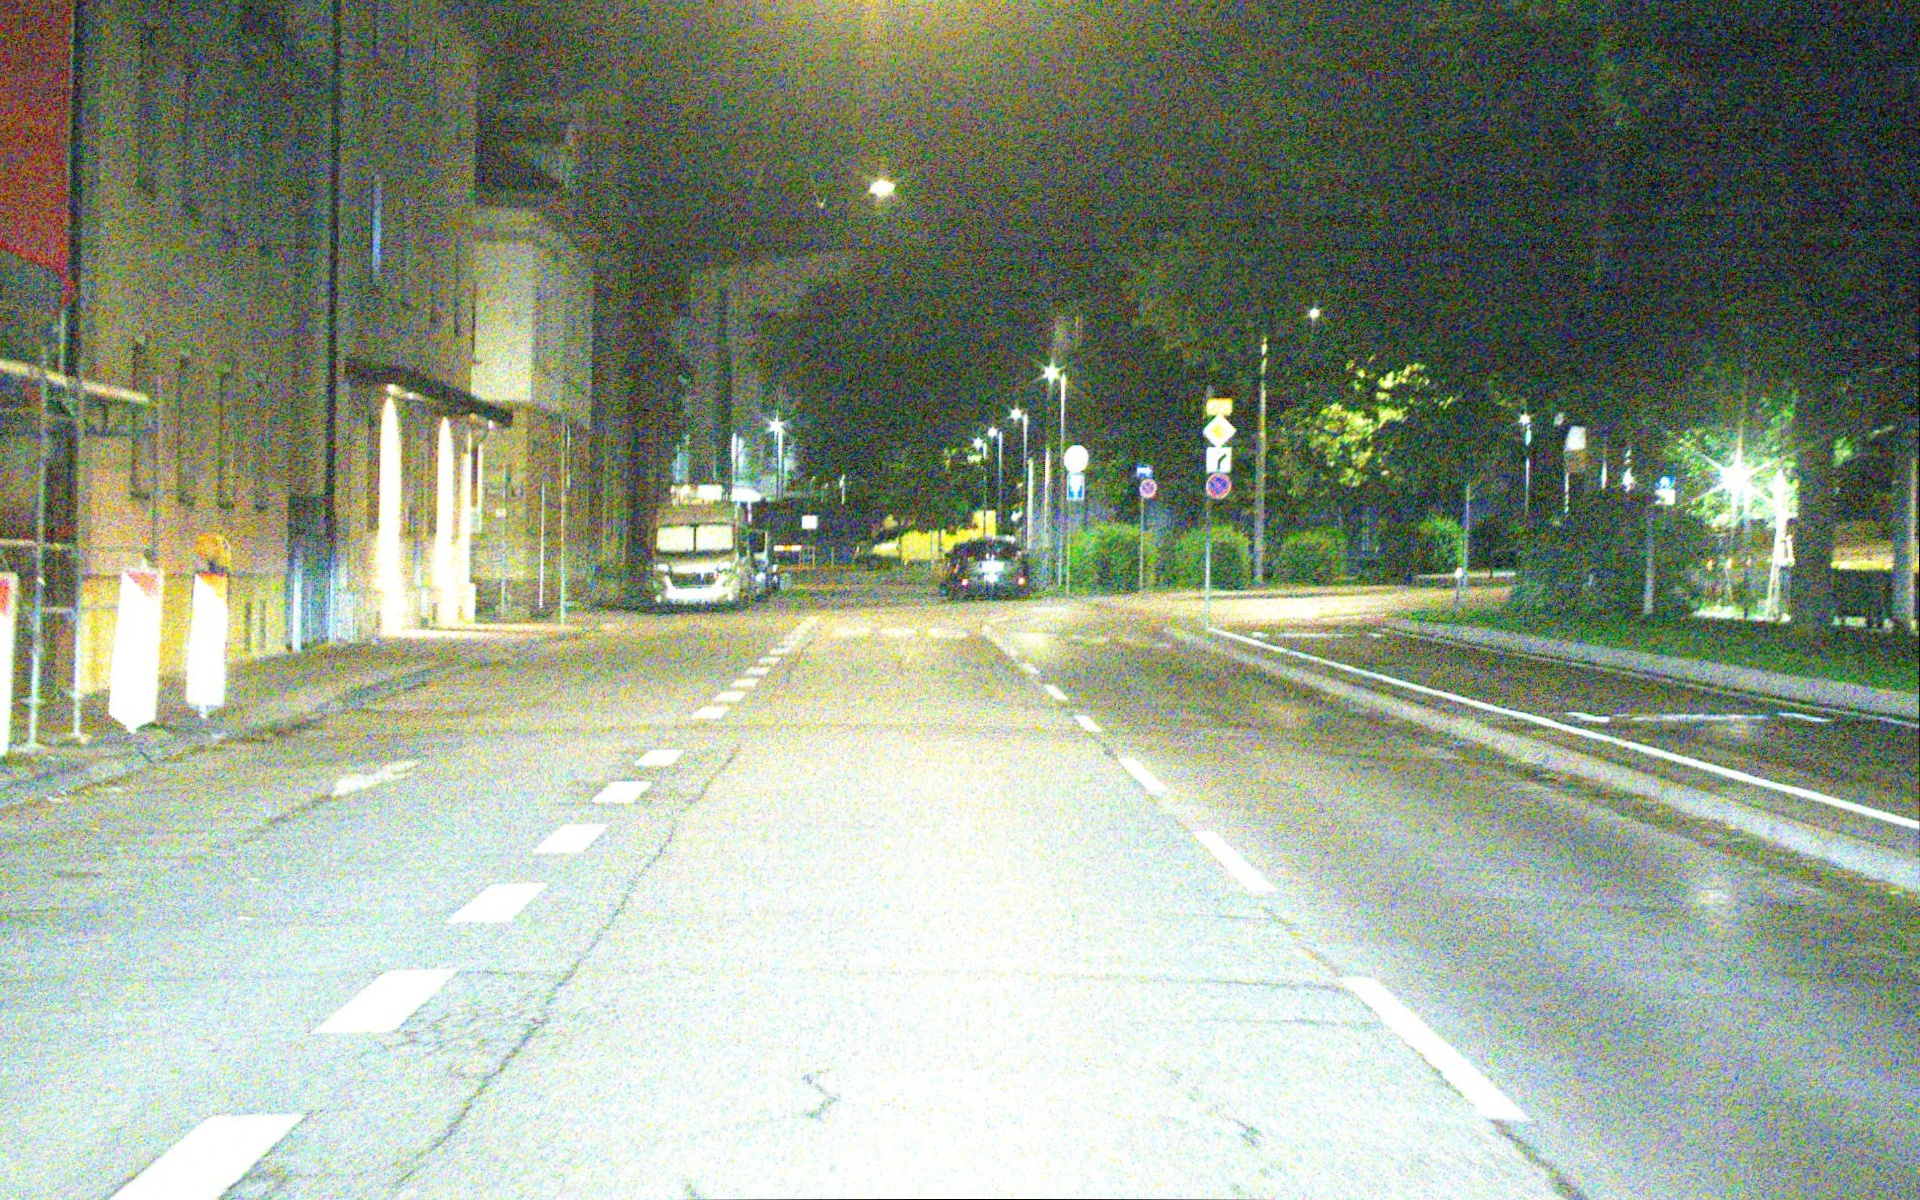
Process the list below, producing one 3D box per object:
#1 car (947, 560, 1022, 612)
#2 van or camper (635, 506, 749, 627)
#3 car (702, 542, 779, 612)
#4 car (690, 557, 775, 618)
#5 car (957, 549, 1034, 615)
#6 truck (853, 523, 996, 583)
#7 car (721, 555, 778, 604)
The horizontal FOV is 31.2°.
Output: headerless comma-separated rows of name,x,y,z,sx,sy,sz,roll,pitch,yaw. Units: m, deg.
car,0.657,-0.384,93.508,1.963,1.378,4.000,0,0,-1
van or camper,-6.001,-0.747,77.565,2.158,2.527,6.227,-2,0,-1
car,-6.263,-0.658,98.579,1.993,1.948,4.806,0,1,-1
car,-5.883,-0.339,88.565,1.838,1.502,4.743,-1,1,-8
car,0.924,-0.466,88.155,1.884,1.597,4.107,-1,0,1
truck,-1.738,-2.263,165.566,6.775,2.835,2.000,1,1,-4
car,-6.791,-0.650,111.018,1.704,1.505,4.100,1,0,-2
